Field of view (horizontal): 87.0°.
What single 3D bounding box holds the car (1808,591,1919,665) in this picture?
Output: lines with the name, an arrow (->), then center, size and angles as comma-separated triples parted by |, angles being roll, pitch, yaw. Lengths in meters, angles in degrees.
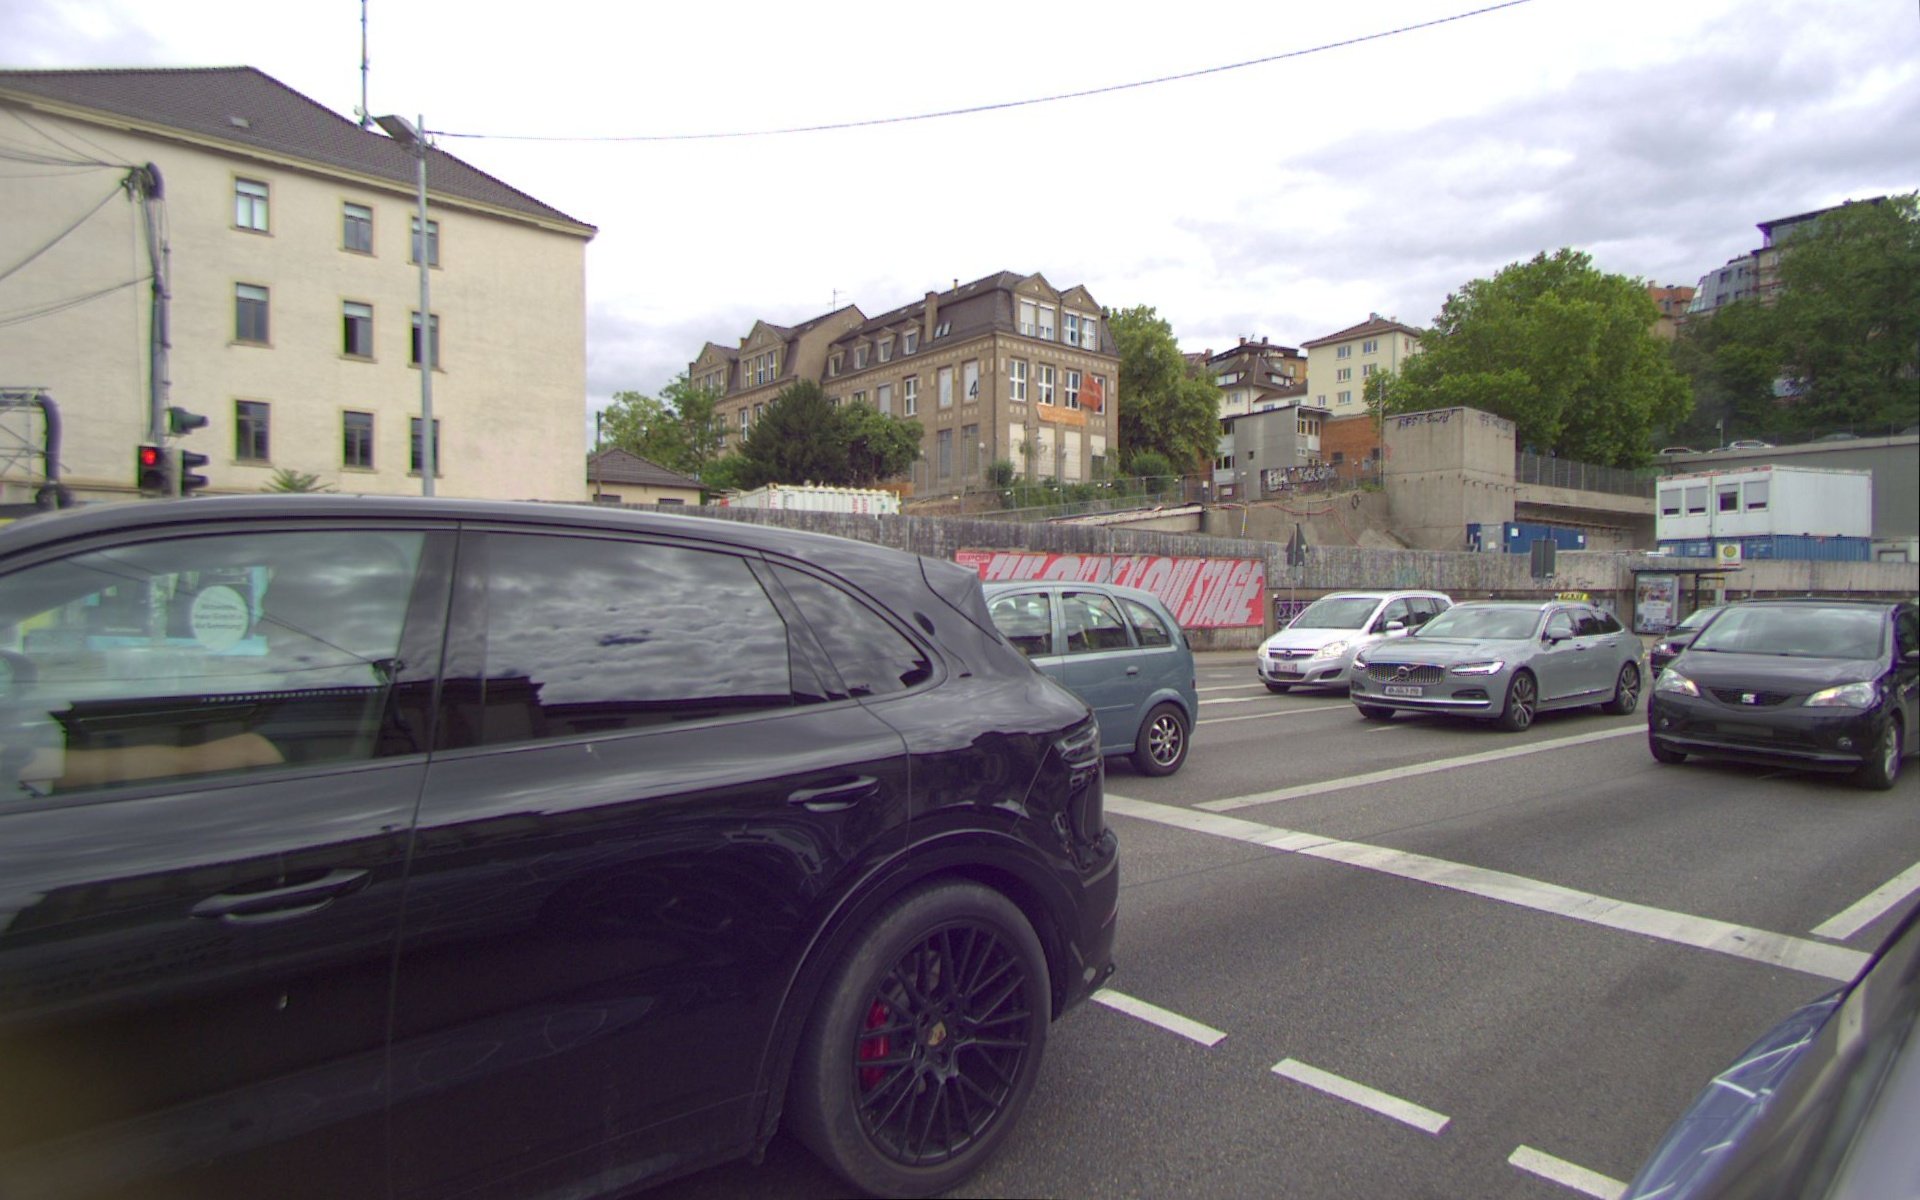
car -> 19.624, 0.528, 21.526 | 3.737, 1.383, 1.680 | -1, 2, -38

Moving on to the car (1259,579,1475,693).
car -> 6.756, 0.505, 16.588 | 4.139, 1.645, 1.677 | -1, -1, -43

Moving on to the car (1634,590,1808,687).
car -> 12.886, 0.582, 17.124 | 2.663, 1.449, 1.666 | -1, 1, -36

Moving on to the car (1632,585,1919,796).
car -> 7.791, 0.627, 9.124 | 3.633, 1.476, 1.829 | -1, 2, -38

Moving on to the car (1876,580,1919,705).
car -> 13.687, 0.539, 13.366 | 3.508, 1.563, 1.721 | 0, 1, -37

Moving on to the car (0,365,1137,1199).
car -> -1.802, 0.531, 2.147 | 4.403, 1.736, 1.829 | -1, 2, -38

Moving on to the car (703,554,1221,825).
car -> 0.154, 0.498, 8.028 | 3.927, 1.645, 1.680 | -1, 2, -38

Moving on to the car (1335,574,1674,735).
car -> 6.816, 0.502, 12.466 | 4.719, 1.645, 1.830 | -1, 1, -36
